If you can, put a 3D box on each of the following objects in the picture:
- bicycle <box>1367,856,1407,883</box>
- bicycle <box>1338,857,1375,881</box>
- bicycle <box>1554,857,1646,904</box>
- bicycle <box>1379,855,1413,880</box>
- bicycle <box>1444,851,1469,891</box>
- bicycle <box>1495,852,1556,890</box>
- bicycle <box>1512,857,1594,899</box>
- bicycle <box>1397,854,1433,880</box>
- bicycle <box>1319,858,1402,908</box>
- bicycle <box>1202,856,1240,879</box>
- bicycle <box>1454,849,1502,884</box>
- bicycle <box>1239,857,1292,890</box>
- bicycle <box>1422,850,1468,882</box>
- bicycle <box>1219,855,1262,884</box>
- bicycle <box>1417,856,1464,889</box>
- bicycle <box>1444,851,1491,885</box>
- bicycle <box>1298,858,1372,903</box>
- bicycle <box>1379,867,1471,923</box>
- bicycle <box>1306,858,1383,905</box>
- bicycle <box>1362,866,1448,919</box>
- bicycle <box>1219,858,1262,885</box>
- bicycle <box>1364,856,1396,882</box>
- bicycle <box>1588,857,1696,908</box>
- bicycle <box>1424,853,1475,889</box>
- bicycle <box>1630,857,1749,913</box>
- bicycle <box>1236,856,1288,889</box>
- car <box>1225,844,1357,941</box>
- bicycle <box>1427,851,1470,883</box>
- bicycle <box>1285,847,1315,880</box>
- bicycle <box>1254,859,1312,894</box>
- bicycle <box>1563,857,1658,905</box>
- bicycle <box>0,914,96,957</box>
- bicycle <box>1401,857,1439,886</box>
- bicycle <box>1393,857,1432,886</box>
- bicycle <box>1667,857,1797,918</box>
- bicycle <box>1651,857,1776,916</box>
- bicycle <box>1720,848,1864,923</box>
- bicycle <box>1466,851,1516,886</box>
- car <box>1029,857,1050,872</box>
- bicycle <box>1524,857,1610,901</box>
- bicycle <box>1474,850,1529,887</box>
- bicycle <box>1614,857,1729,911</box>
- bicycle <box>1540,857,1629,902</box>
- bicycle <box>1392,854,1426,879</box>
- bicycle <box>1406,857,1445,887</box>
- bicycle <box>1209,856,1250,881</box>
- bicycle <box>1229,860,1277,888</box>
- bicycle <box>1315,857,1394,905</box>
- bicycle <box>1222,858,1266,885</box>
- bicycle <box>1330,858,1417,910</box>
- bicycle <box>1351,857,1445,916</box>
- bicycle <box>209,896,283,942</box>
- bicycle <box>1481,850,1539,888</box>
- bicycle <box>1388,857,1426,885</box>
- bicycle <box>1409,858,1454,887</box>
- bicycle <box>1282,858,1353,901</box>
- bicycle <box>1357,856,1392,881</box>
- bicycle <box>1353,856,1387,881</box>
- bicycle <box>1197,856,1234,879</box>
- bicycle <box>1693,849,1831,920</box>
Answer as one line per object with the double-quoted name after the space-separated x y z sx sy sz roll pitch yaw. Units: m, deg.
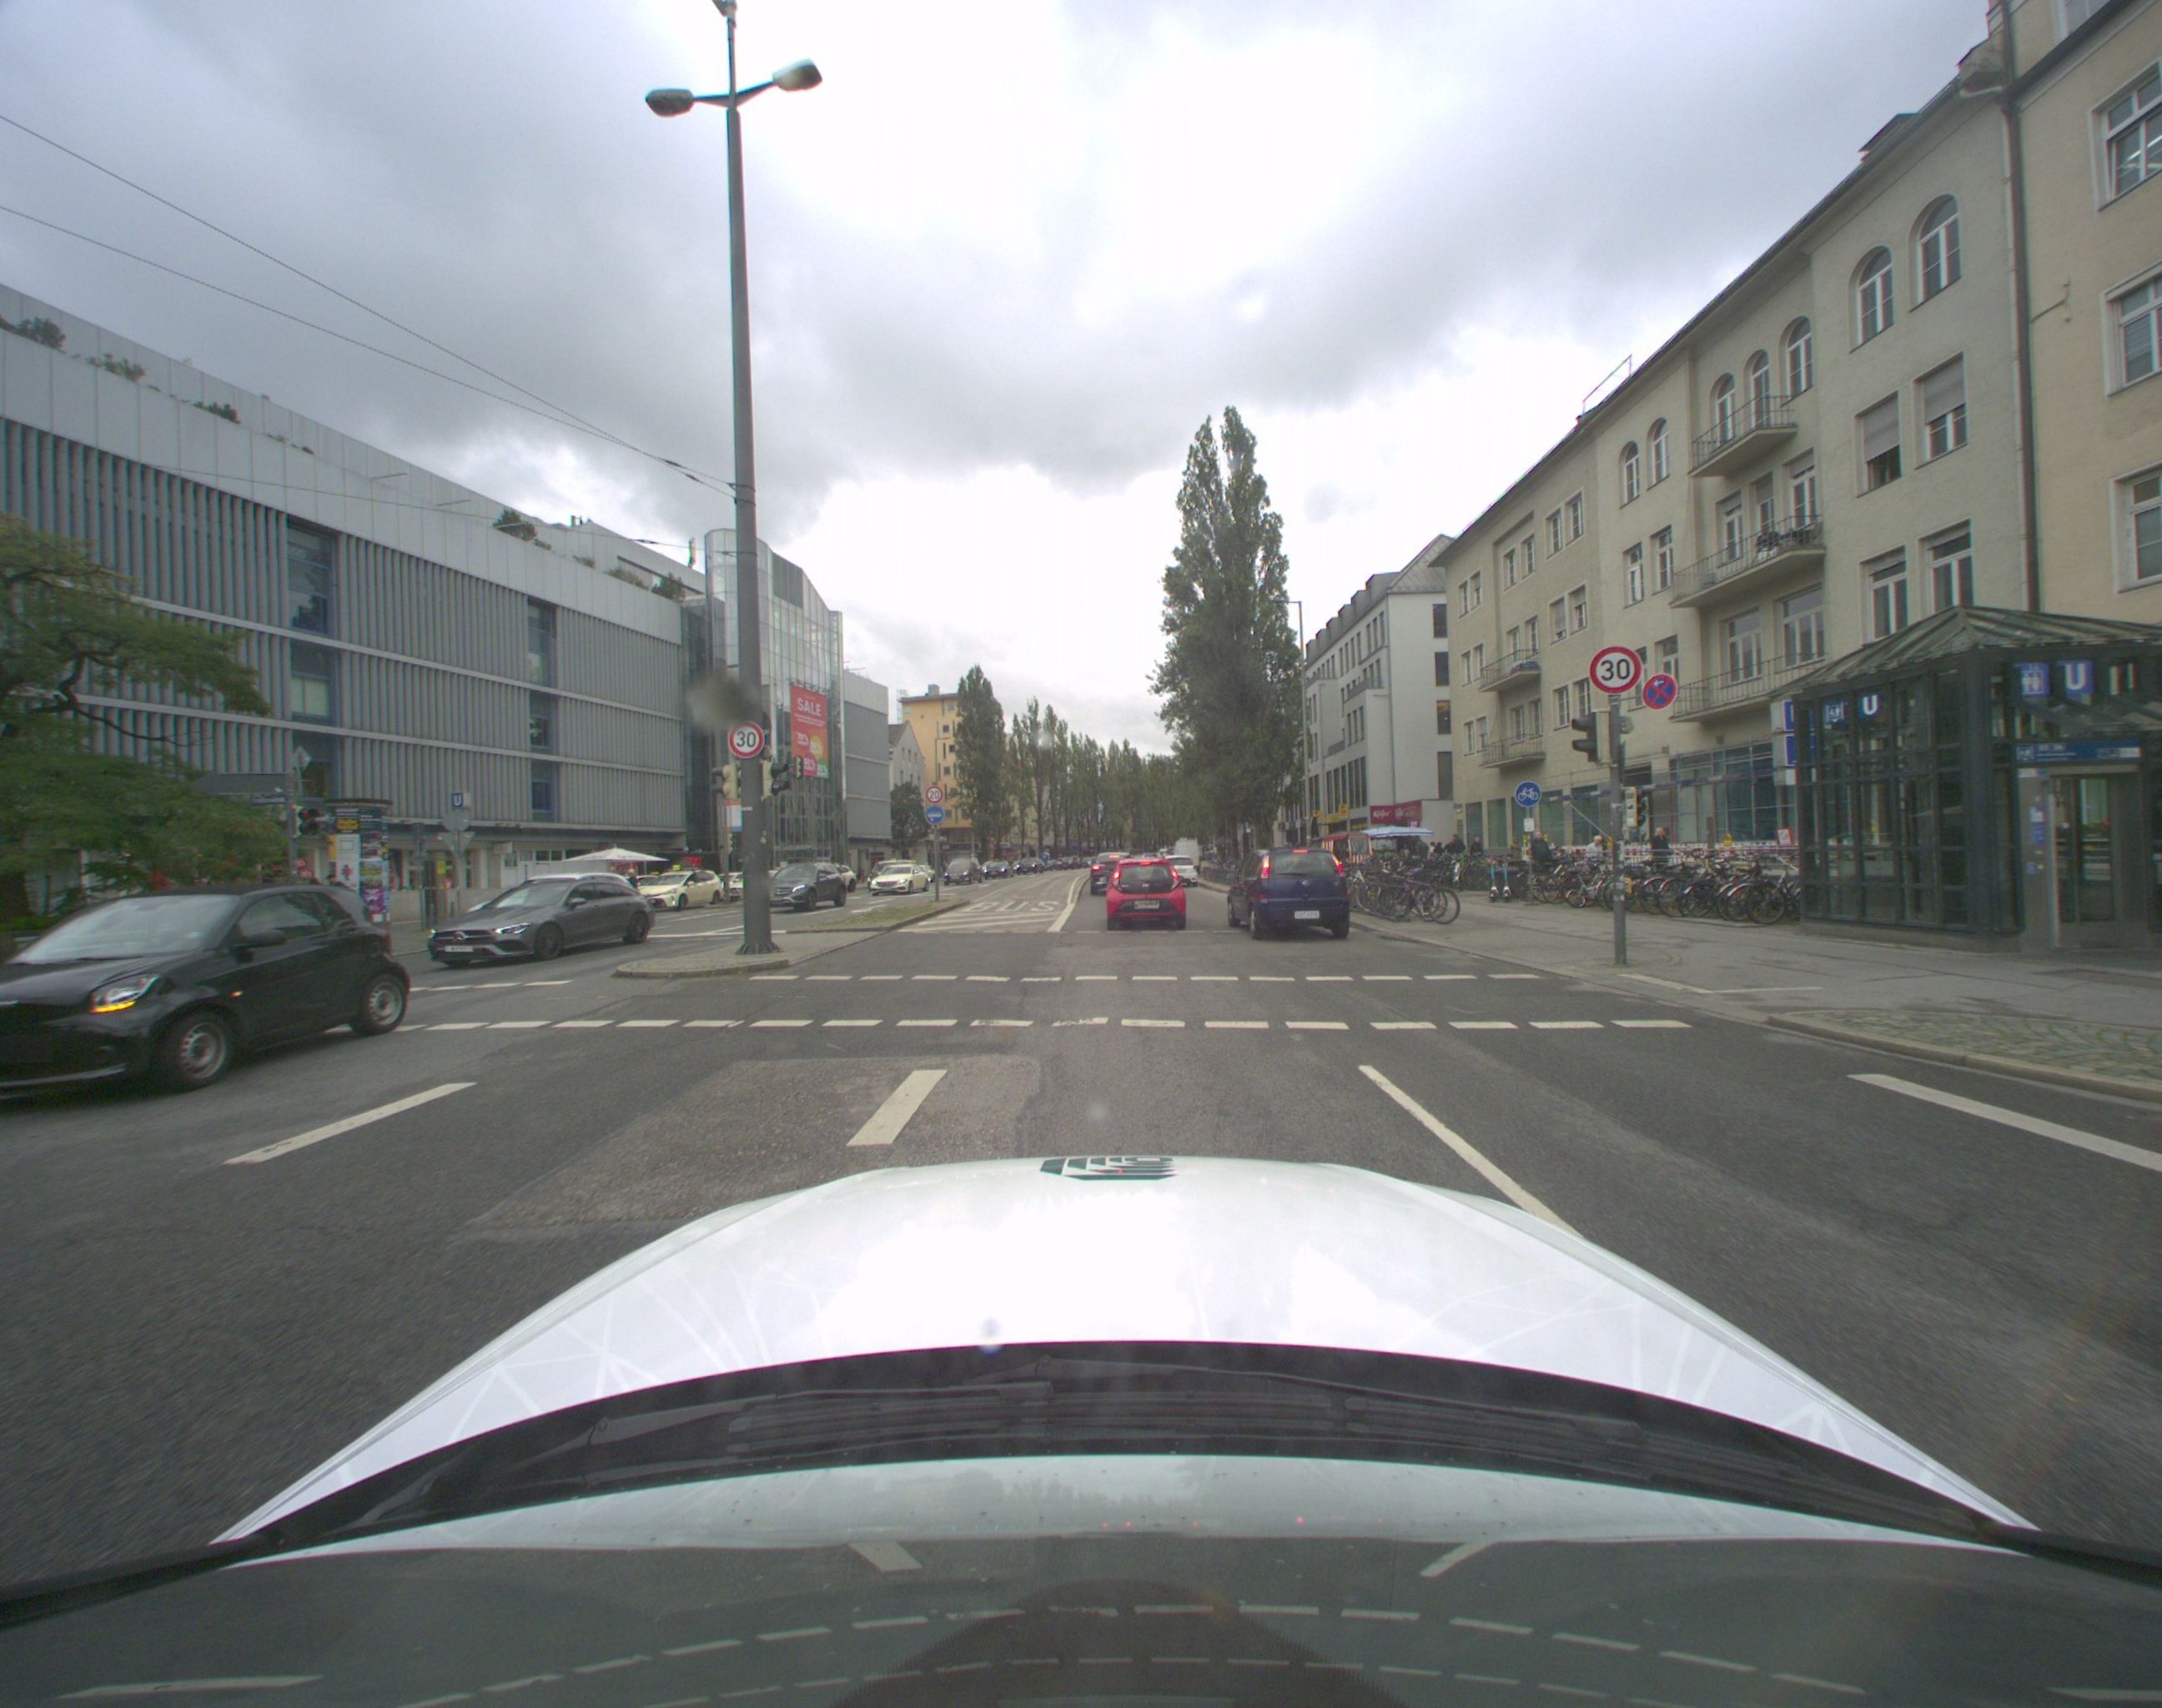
11.661 0.584 31.045 1.399 0.963 0.369 -2 0 -4 "bicycle"
11.844 0.651 35.040 1.423 0.963 0.370 -2 0 7 "bicycle"
11.593 0.589 18.220 1.748 0.964 0.453 -2 0 0 "bicycle"
13.209 0.554 34.182 1.240 0.981 0.369 -2 0 0 "bicycle"
11.383 0.503 24.665 0.364 1.141 1.734 -2 0 34 "bicycle"
13.387 0.516 24.558 1.543 1.075 0.452 -2 0 3 "bicycle"
11.653 0.583 20.135 1.747 0.964 0.369 -2 0 2 "bicycle"
13.079 0.507 31.909 1.240 0.981 0.369 -2 0 -2 "bicycle"
6.727 0.693 19.638 1.781 1.158 0.551 -2 0 40 "bicycle"
7.123 0.706 41.380 1.814 1.136 0.590 -2 0 38 "bicycle"
13.169 0.417 27.033 1.424 1.075 0.368 -2 0 -5 "bicycle"
6.782 0.730 30.041 1.815 1.168 0.590 -2 0 44 "bicycle"
13.163 0.440 29.428 1.498 1.075 0.368 -2 0 -5 "bicycle"
7.102 0.702 36.387 1.815 1.241 0.590 -2 0 44 "bicycle"
11.571 0.606 26.222 1.309 0.999 0.369 -2 0 2 "bicycle"
13.115 0.473 27.628 1.424 1.075 0.368 -2 0 -5 "bicycle"
6.780 0.716 21.764 1.781 1.158 0.490 -2 0 32 "bicycle"
6.747 0.786 16.043 0.502 1.028 1.582 -2 0 -40 "bicycle"
6.815 0.718 21.107 1.782 1.158 0.490 -2 0 31 "bicycle"
6.701 0.785 16.900 0.502 1.028 1.582 -2 0 -40 "bicycle"
6.989 0.754 35.723 1.815 1.136 0.590 -2 0 44 "bicycle"
11.838 0.580 32.261 1.229 0.963 0.367 -2 0 -20 "bicycle"
11.448 0.577 16.640 1.832 0.964 0.509 -2 0 0 "bicycle"
11.633 0.530 25.716 1.412 1.077 0.369 -2 0 2 "bicycle"
11.401 0.576 15.282 1.832 0.964 0.509 -2 0 0 "bicycle"
6.837 0.713 30.822 1.815 1.197 0.590 -2 0 44 "bicycle"
3.824 0.640 15.406 1.696 1.589 3.558 -1 0 2 "car"
12.979 0.444 28.746 1.326 1.075 0.368 -2 0 -5 "bicycle"
9.077 0.377 33.840 0.611 1.265 2.521 -2 0 3 "bicycle"
6.753 0.758 27.283 1.782 1.111 0.566 -2 0 43 "bicycle"
11.500 0.572 17.718 1.748 0.964 0.453 -2 0 0 "bicycle"
-31.890 2.477 24.756 3.468 1.156 1.064 -2 0 14 "bicycle"
11.664 0.595 28.049 1.127 0.963 0.370 -2 0 7 "bicycle"
11.679 0.616 28.699 1.175 0.963 0.370 -2 0 5 "bicycle"
11.277 0.574 14.132 1.832 0.964 0.509 -2 0 0 "bicycle"
11.363 0.575 14.663 1.832 0.964 0.509 -2 0 0 "bicycle"
11.303 0.494 12.973 1.832 1.094 0.509 -2 0 0 "bicycle"
13.206 0.461 26.242 1.424 1.075 0.368 -2 0 -5 "bicycle"
-5.035 1.256 98.497 1.846 1.816 4.008 0 0 7 "car"
11.593 0.588 19.443 1.747 0.964 0.453 -2 0 2 "bicycle"
13.279 0.458 25.721 1.547 1.075 0.368 -2 0 -5 "bicycle"
11.447 0.576 15.814 1.832 0.964 0.509 -2 0 0 "bicycle"
11.665 0.588 18.881 1.748 0.964 0.453 -2 0 0 "bicycle"
13.288 0.496 33.001 1.242 0.981 0.368 -2 0 -7 "bicycle"
11.665 0.594 27.609 1.127 0.963 0.370 -2 0 7 "bicycle"
7.023 0.703 38.651 1.814 1.136 0.590 -2 0 38 "bicycle"
6.801 0.786 32.231 1.815 1.052 0.590 -2 0 44 "bicycle"
6.859 0.694 20.445 1.782 1.158 0.490 -2 0 28 "bicycle"
6.980 0.746 34.961 1.815 1.136 0.590 -2 0 44 "bicycle"
6.793 0.692 18.953 1.781 1.158 0.551 -2 0 40 "bicycle"
6.802 0.693 17.559 0.562 1.198 1.782 -2 0 -45 "bicycle"
-21.037 1.632 20.521 1.566 1.112 0.374 -2 0 5 "bicycle"
13.275 0.459 25.191 1.546 1.075 0.451 -2 0 -3 "bicycle"
11.692 0.598 29.243 1.177 0.963 0.369 -2 0 0 "bicycle"
11.550 0.614 26.879 1.287 0.915 0.369 -2 0 2 "bicycle"
6.720 0.729 23.143 1.781 1.158 0.656 -2 0 37 "bicycle"
11.899 0.590 33.065 1.253 0.963 0.370 -2 0 11 "bicycle"
11.910 0.586 33.548 1.255 0.963 0.370 -2 0 4 "bicycle"
7.087 0.708 42.849 1.814 1.136 0.590 -2 0 38 "bicycle"
11.300 0.494 13.540 1.832 1.094 0.509 -2 0 0 "bicycle"
